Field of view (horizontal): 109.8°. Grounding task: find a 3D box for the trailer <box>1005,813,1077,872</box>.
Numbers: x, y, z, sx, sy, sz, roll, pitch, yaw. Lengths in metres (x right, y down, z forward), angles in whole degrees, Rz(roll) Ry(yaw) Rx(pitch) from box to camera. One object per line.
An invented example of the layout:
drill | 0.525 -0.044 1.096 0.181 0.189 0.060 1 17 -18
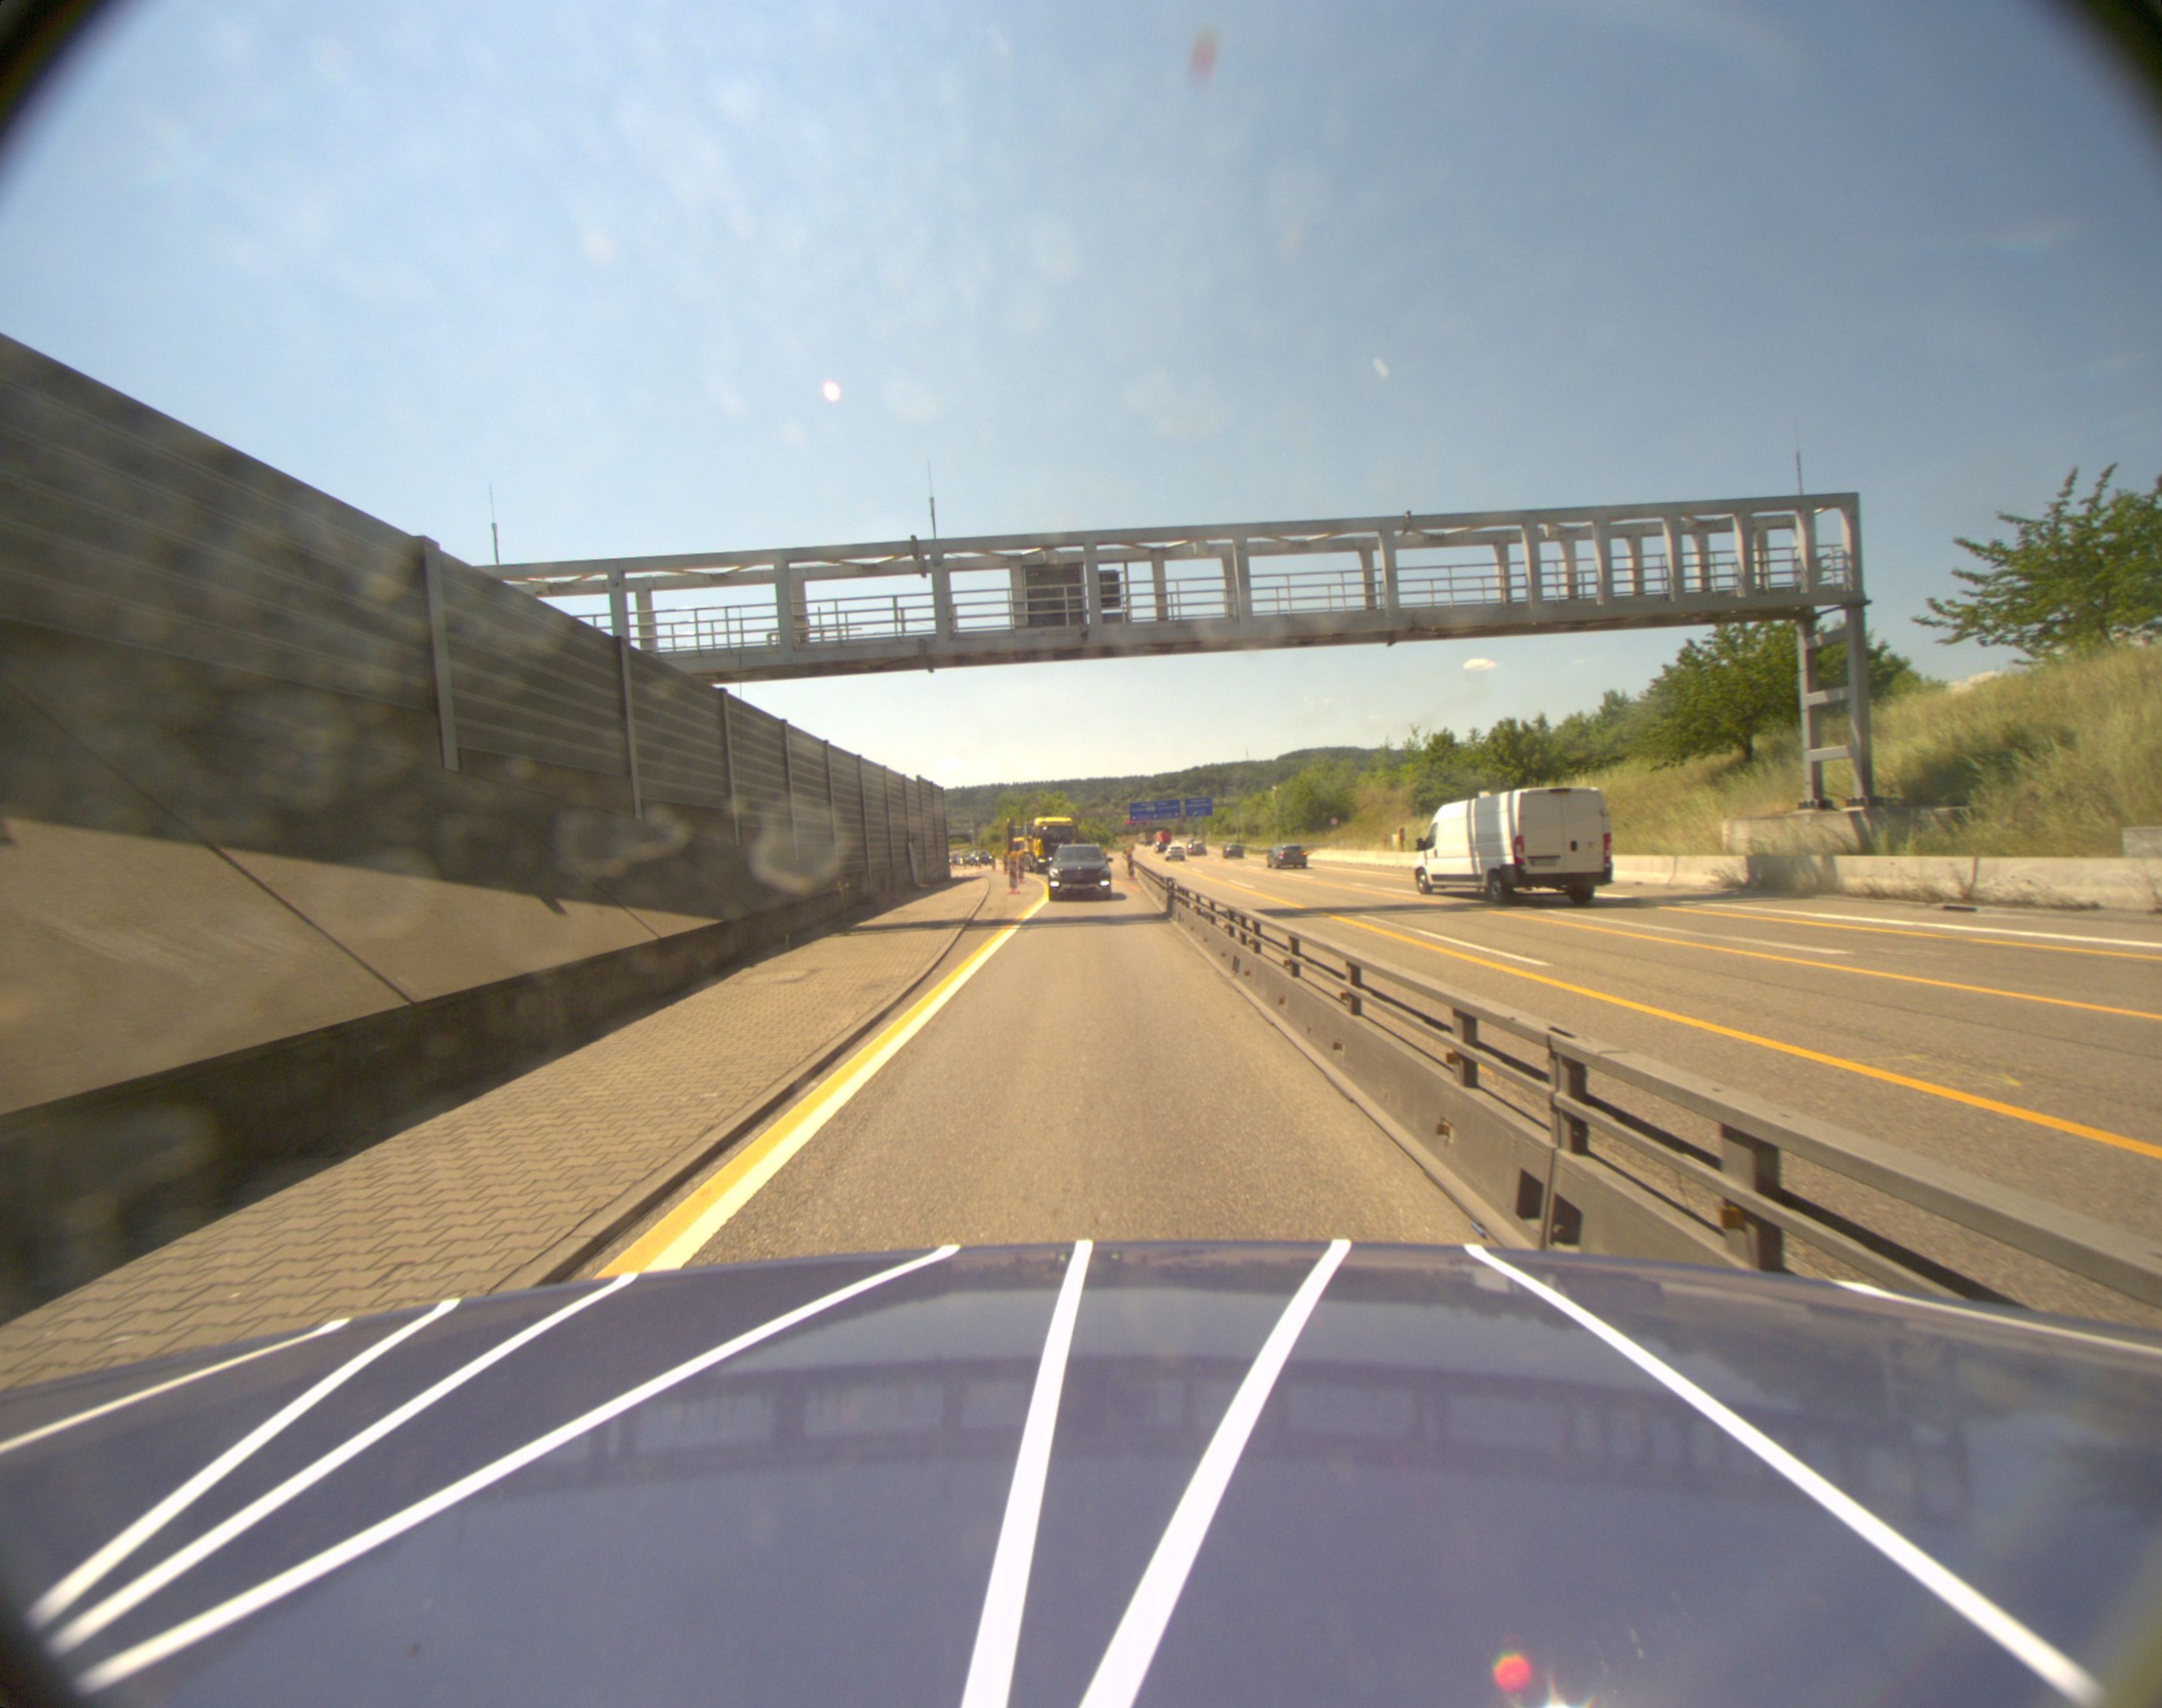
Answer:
trailer | -3.568 -0.770 59.996 3.239 3.646 17.405 -6 1 -10

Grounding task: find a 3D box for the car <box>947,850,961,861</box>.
car | -17.155 0.231 102.649 1.477 1.439 4.354 -2 1 -15

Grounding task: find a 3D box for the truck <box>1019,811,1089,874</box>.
truck | -1.951 -0.753 51.213 3.232 3.640 7.076 -6 1 -11

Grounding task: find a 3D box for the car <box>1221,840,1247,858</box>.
car | 15.459 -0.523 76.980 1.778 1.657 4.807 -2 1 3

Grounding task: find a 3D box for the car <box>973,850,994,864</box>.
car | -10.484 0.341 81.890 1.477 1.439 4.354 -2 1 -17

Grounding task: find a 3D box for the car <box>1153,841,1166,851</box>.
car | 12.620 -1.308 122.940 1.778 1.584 4.986 -2 1 2

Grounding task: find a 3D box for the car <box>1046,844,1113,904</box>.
car | 0.052 0.562 24.631 1.819 1.686 4.493 -2 1 3

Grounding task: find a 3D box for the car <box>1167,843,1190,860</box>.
car | 9.683 -0.282 75.907 1.778 1.568 4.446 -2 1 1

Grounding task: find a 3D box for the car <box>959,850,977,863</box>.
car | -13.872 0.307 93.216 1.477 1.439 4.354 -2 1 -17

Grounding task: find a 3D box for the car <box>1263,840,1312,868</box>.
car | 12.138 -0.008 44.959 1.778 1.507 4.564 -2 1 3

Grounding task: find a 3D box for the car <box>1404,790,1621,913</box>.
car | 10.275 -0.080 18.836 1.998 2.500 6.041 -2 1 1

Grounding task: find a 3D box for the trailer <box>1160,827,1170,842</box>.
trailer | 24.462 -5.625 221.488 2.343 4.079 13.262 -3 1 5

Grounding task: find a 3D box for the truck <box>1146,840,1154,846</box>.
truck | 20.828 -3.275 229.603 1.998 1.862 4.762 -3 0 4

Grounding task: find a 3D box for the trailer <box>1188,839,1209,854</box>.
trailer | 14.904 -0.960 96.458 1.951 1.795 5.523 -2 1 3

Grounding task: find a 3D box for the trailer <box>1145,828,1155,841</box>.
trailer | 23.943 -6.650 264.689 2.441 4.272 13.806 -4 1 1

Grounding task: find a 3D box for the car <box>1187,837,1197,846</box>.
car | 24.753 -2.794 168.803 1.691 1.824 4.787 -2 2 3
